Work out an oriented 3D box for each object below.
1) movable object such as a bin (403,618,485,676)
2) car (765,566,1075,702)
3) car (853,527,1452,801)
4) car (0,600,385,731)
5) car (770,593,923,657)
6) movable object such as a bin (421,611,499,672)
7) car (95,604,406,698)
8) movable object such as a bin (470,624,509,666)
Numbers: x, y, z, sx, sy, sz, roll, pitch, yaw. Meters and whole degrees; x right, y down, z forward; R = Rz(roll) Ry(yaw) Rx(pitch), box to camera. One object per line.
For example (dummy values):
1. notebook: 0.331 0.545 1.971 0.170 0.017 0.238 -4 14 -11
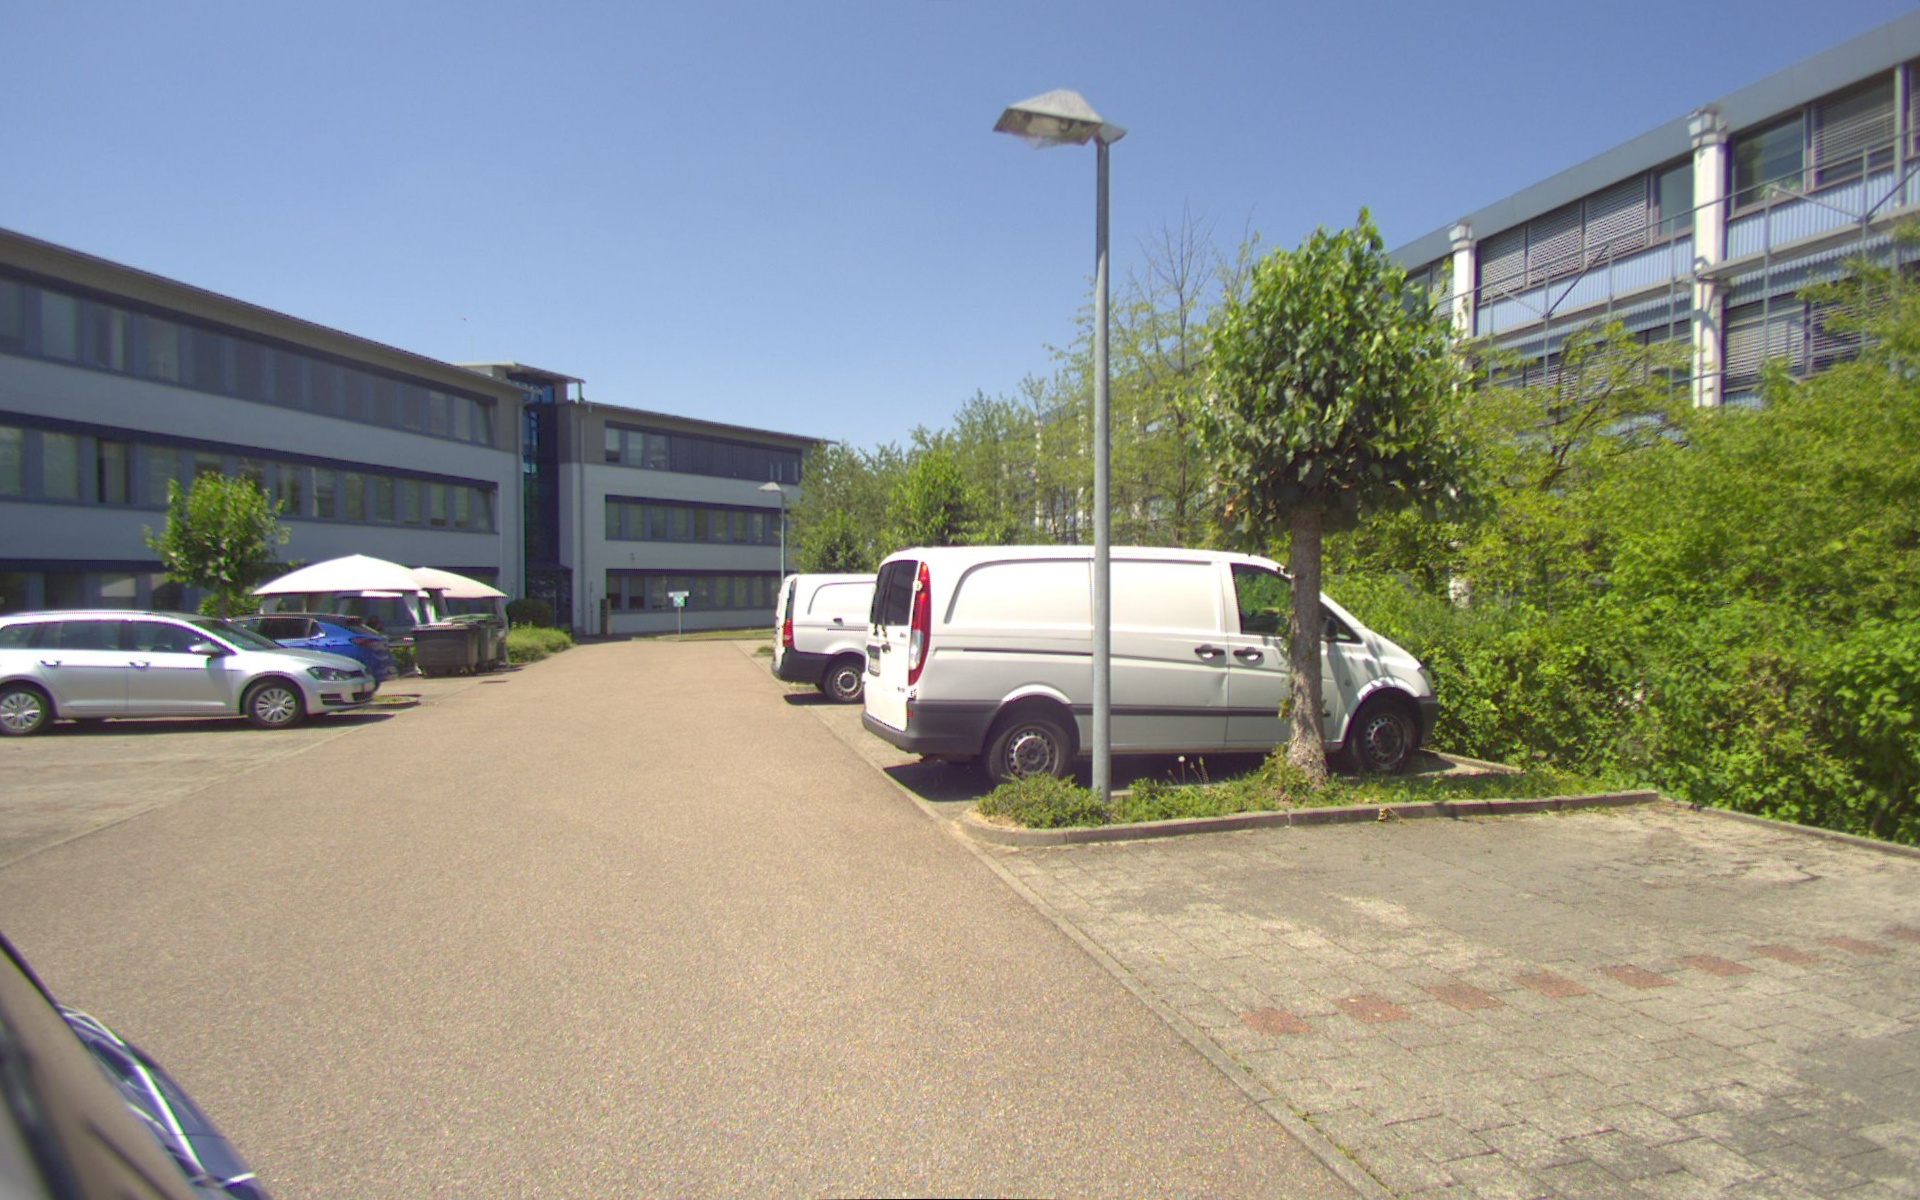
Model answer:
1. movable object such as a bin: -11.137 0.999 21.895 1.342 1.198 0.999 -1 0 -10
2. car: -0.661 0.454 15.621 4.443 1.896 1.835 -1 0 -16
3. car: 1.574 0.425 8.619 4.655 1.920 1.835 -1 0 -16
4. car: -10.055 0.771 12.897 4.443 1.508 1.835 1 0 -16
5. car: -2.991 0.626 26.477 3.701 1.569 1.666 -1 0 -16
6. movable object such as a bin: -11.322 0.925 22.975 1.342 1.306 1.045 -1 0 -10
7. car: -11.253 0.785 16.347 3.762 1.402 1.657 1 -1 -16
8. movable object such as a bin: -11.131 1.051 23.948 0.680 0.956 0.724 -1 0 -10
